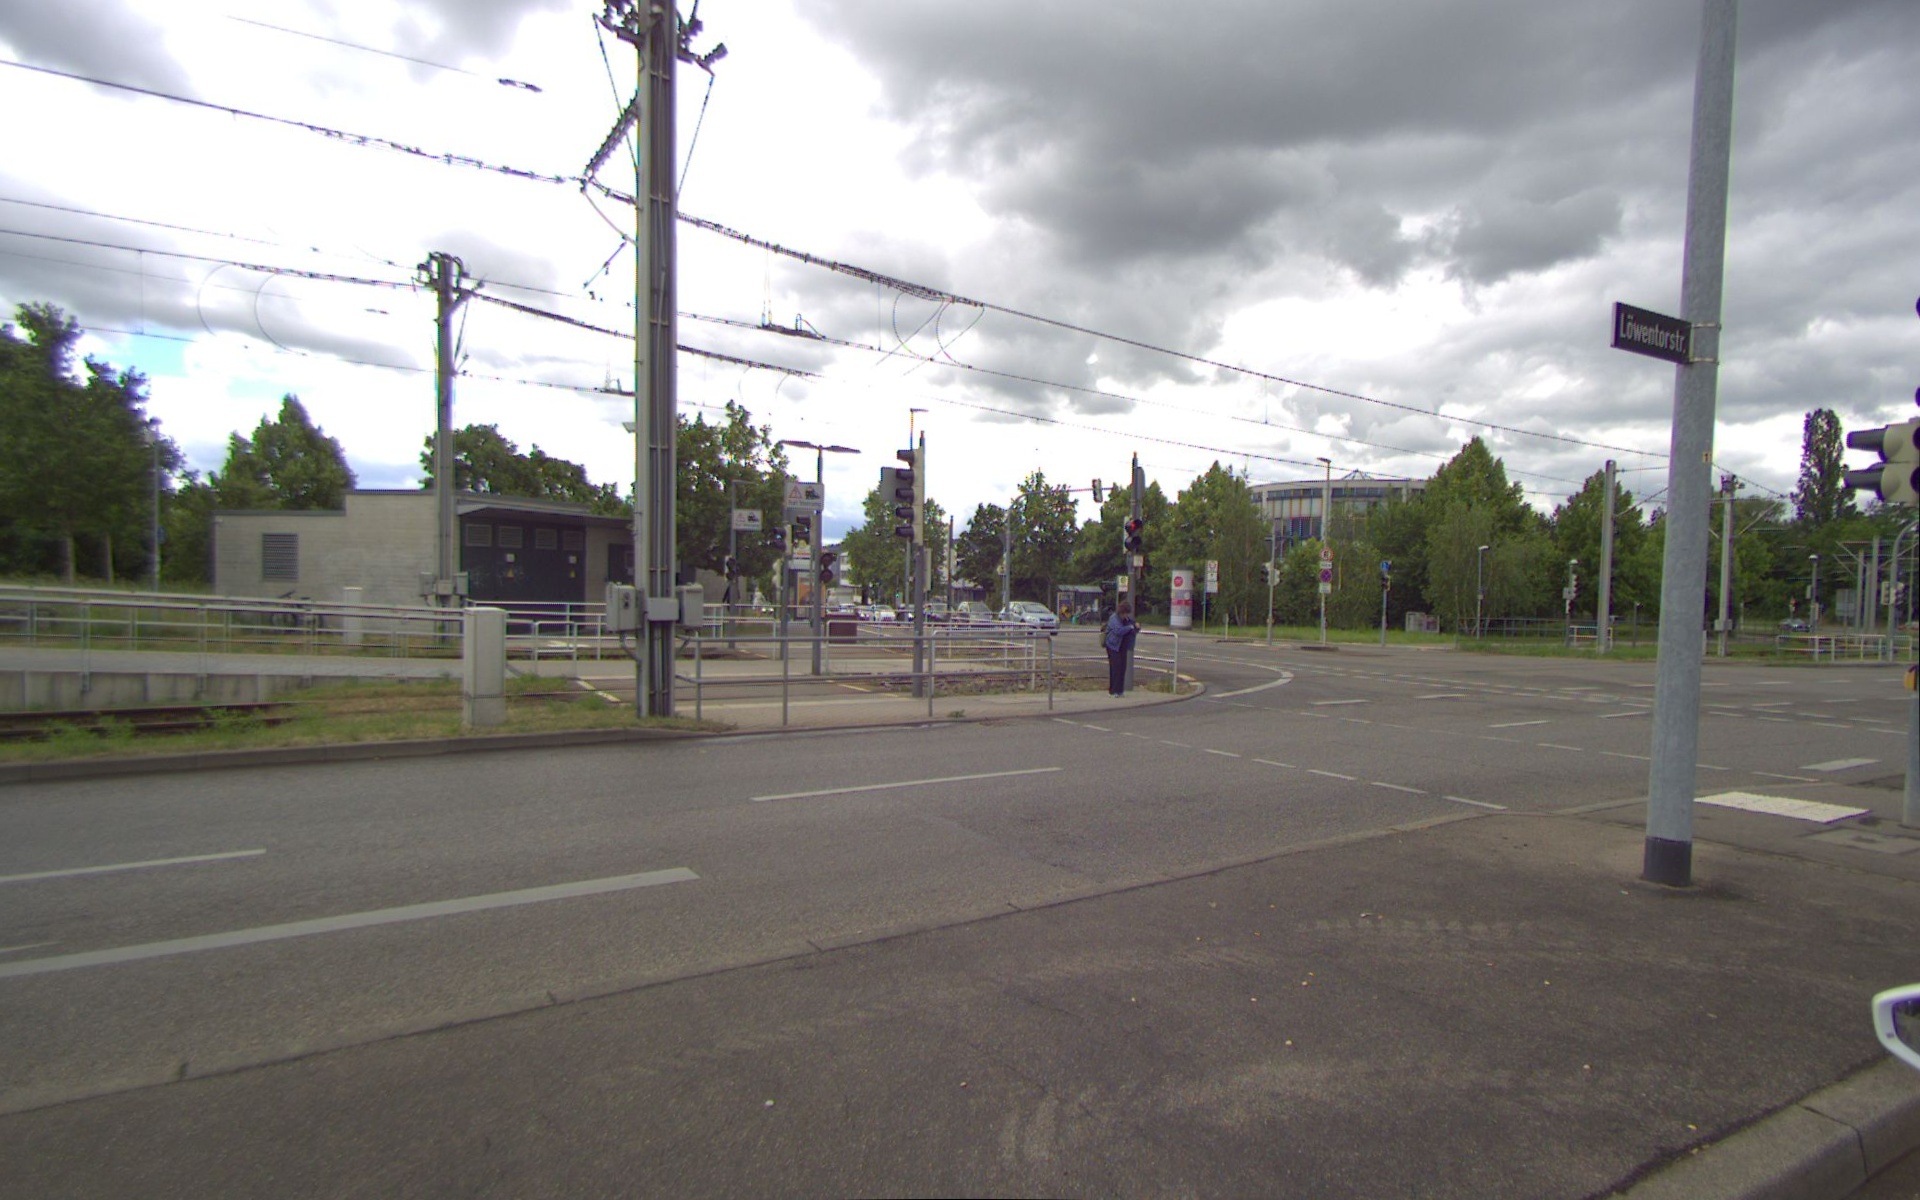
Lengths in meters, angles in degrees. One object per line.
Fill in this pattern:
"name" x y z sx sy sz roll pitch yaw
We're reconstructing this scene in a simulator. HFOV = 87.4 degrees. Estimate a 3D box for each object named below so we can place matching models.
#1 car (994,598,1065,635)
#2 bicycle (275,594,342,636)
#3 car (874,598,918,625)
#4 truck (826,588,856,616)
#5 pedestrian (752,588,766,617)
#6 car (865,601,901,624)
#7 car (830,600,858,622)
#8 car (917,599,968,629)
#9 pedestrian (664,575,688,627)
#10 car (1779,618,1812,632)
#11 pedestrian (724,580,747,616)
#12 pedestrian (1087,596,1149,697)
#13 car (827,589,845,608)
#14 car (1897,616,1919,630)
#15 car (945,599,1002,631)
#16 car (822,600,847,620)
"car" 3.202 0.732 46.906 1.848 1.617 3.982 2 0 -20
"bicycle" -17.349 0.393 26.741 1.778 1.045 0.536 2 0 21
"car" -4.147 0.696 64.582 1.776 1.617 3.982 2 0 -20
"truck" -16.348 0.257 137.391 2.965 3.580 9.258 1 0 -13
"pedestrian" -11.336 0.141 56.721 0.633 1.557 0.521 2 0 -2
"car" -5.762 0.924 74.905 1.775 1.617 3.985 2 0 -17
"car" -10.070 0.915 86.747 1.869 1.805 3.988 1 0 -14
"car" -1.060 0.759 58.046 1.776 1.617 3.982 2 0 -20
"pedestrian" -9.687 0.035 34.265 0.700 1.751 0.674 2 0 -19
"car" 102.778 3.065 123.648 1.765 1.608 4.000 2 0 19
"pedestrian" -8.826 -0.069 39.484 0.590 1.377 0.616 2 0 18
"pedestrian" 2.526 0.729 16.068 0.712 1.557 0.630 2 0 -33
"car" -14.609 -0.169 118.111 1.964 2.218 5.800 1 0 -9
"car" 114.289 2.773 120.156 1.755 1.625 3.888 2 0 19
"car" 0.671 0.792 53.872 1.776 1.617 3.982 2 0 -20
"car" -11.796 0.913 94.258 1.869 1.805 3.990 1 0 -13
